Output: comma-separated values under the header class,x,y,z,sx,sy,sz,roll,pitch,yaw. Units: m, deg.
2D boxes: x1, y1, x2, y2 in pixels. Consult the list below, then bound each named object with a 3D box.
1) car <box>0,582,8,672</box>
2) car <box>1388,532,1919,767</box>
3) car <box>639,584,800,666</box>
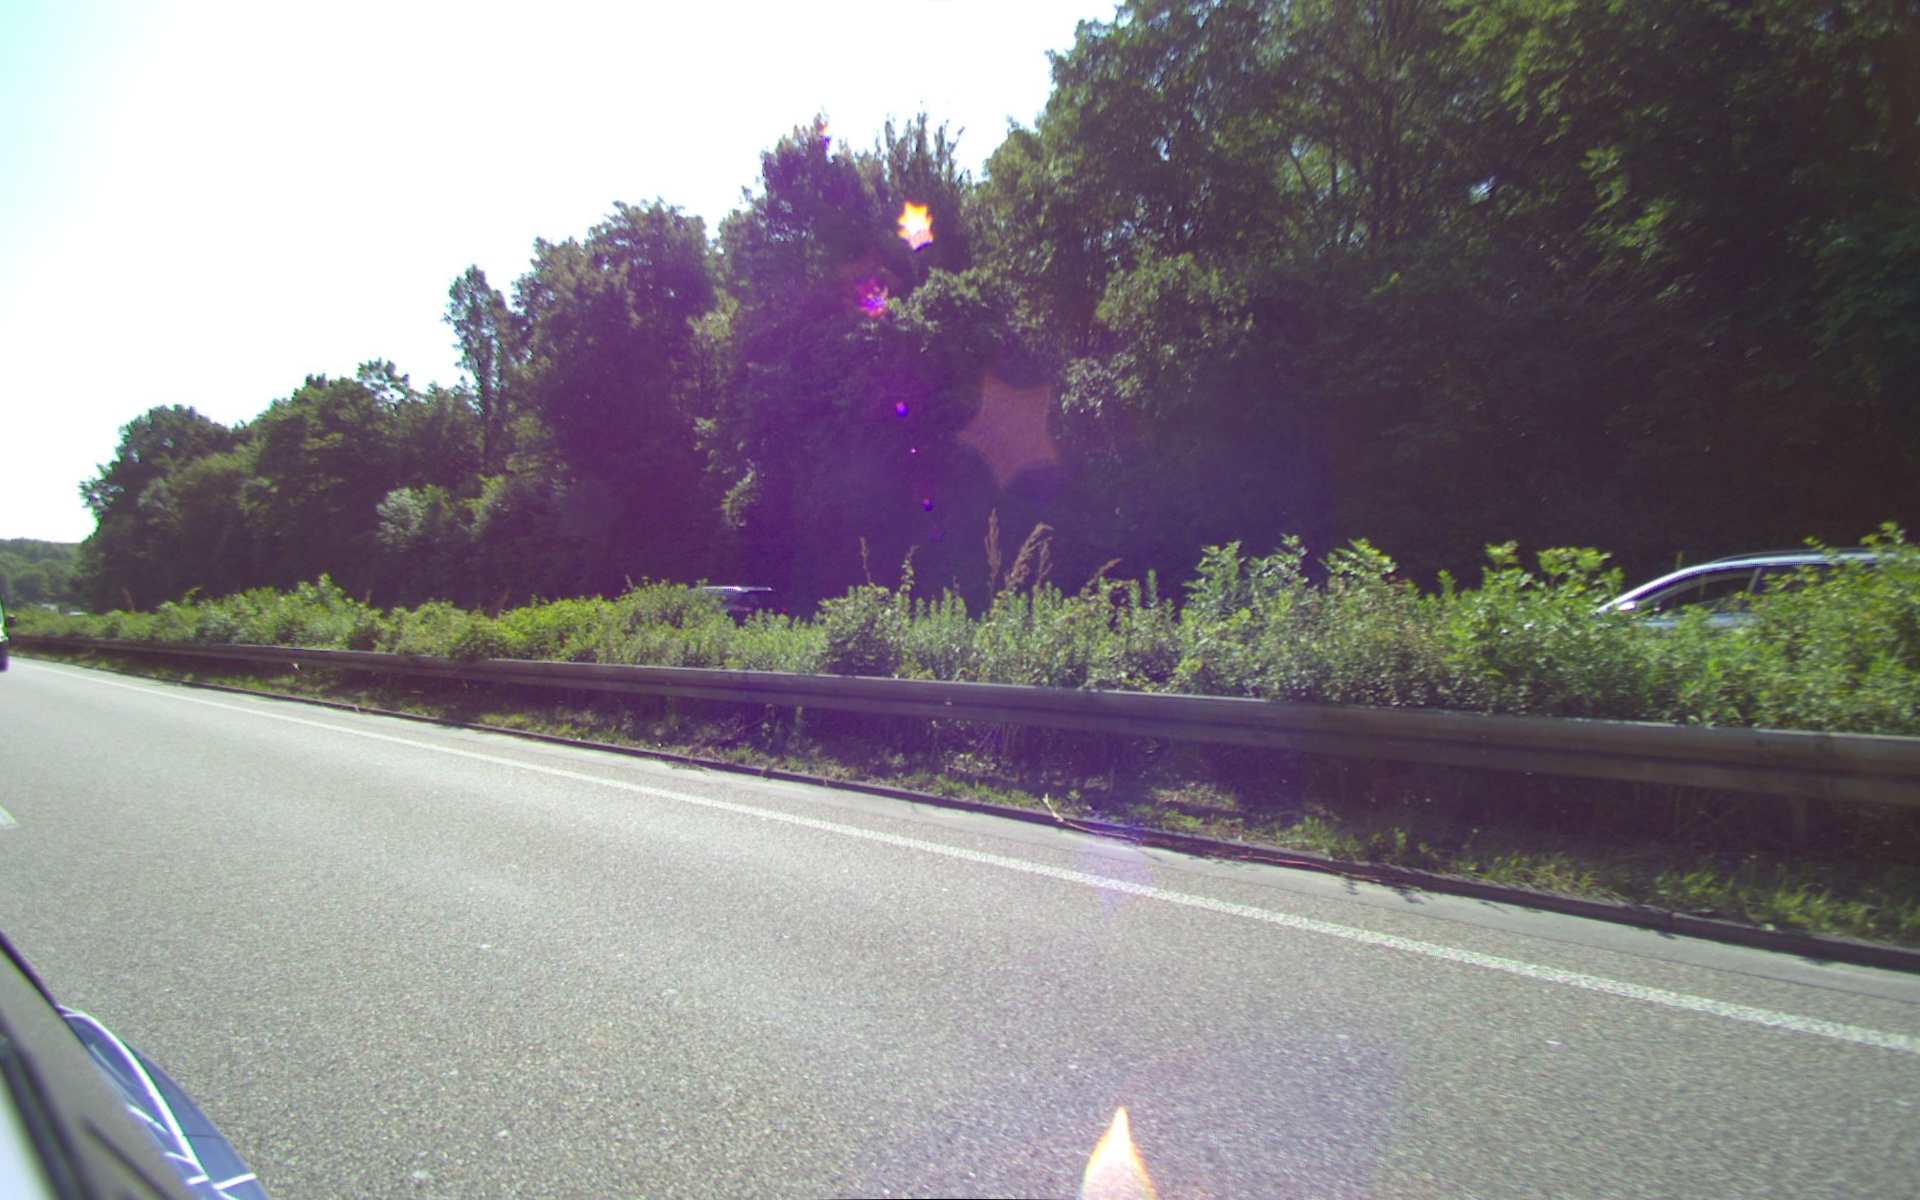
class,x,y,z,sx,sy,sz,roll,pitch,yaw
car,-28.556,0.775,28.555,4.636,2.462,2.020,-1,0,41
car,6.227,0.368,8.936,4.272,1.719,1.593,-1,0,35
car,-6.043,0.607,25.170,4.430,1.863,1.614,-2,0,41
